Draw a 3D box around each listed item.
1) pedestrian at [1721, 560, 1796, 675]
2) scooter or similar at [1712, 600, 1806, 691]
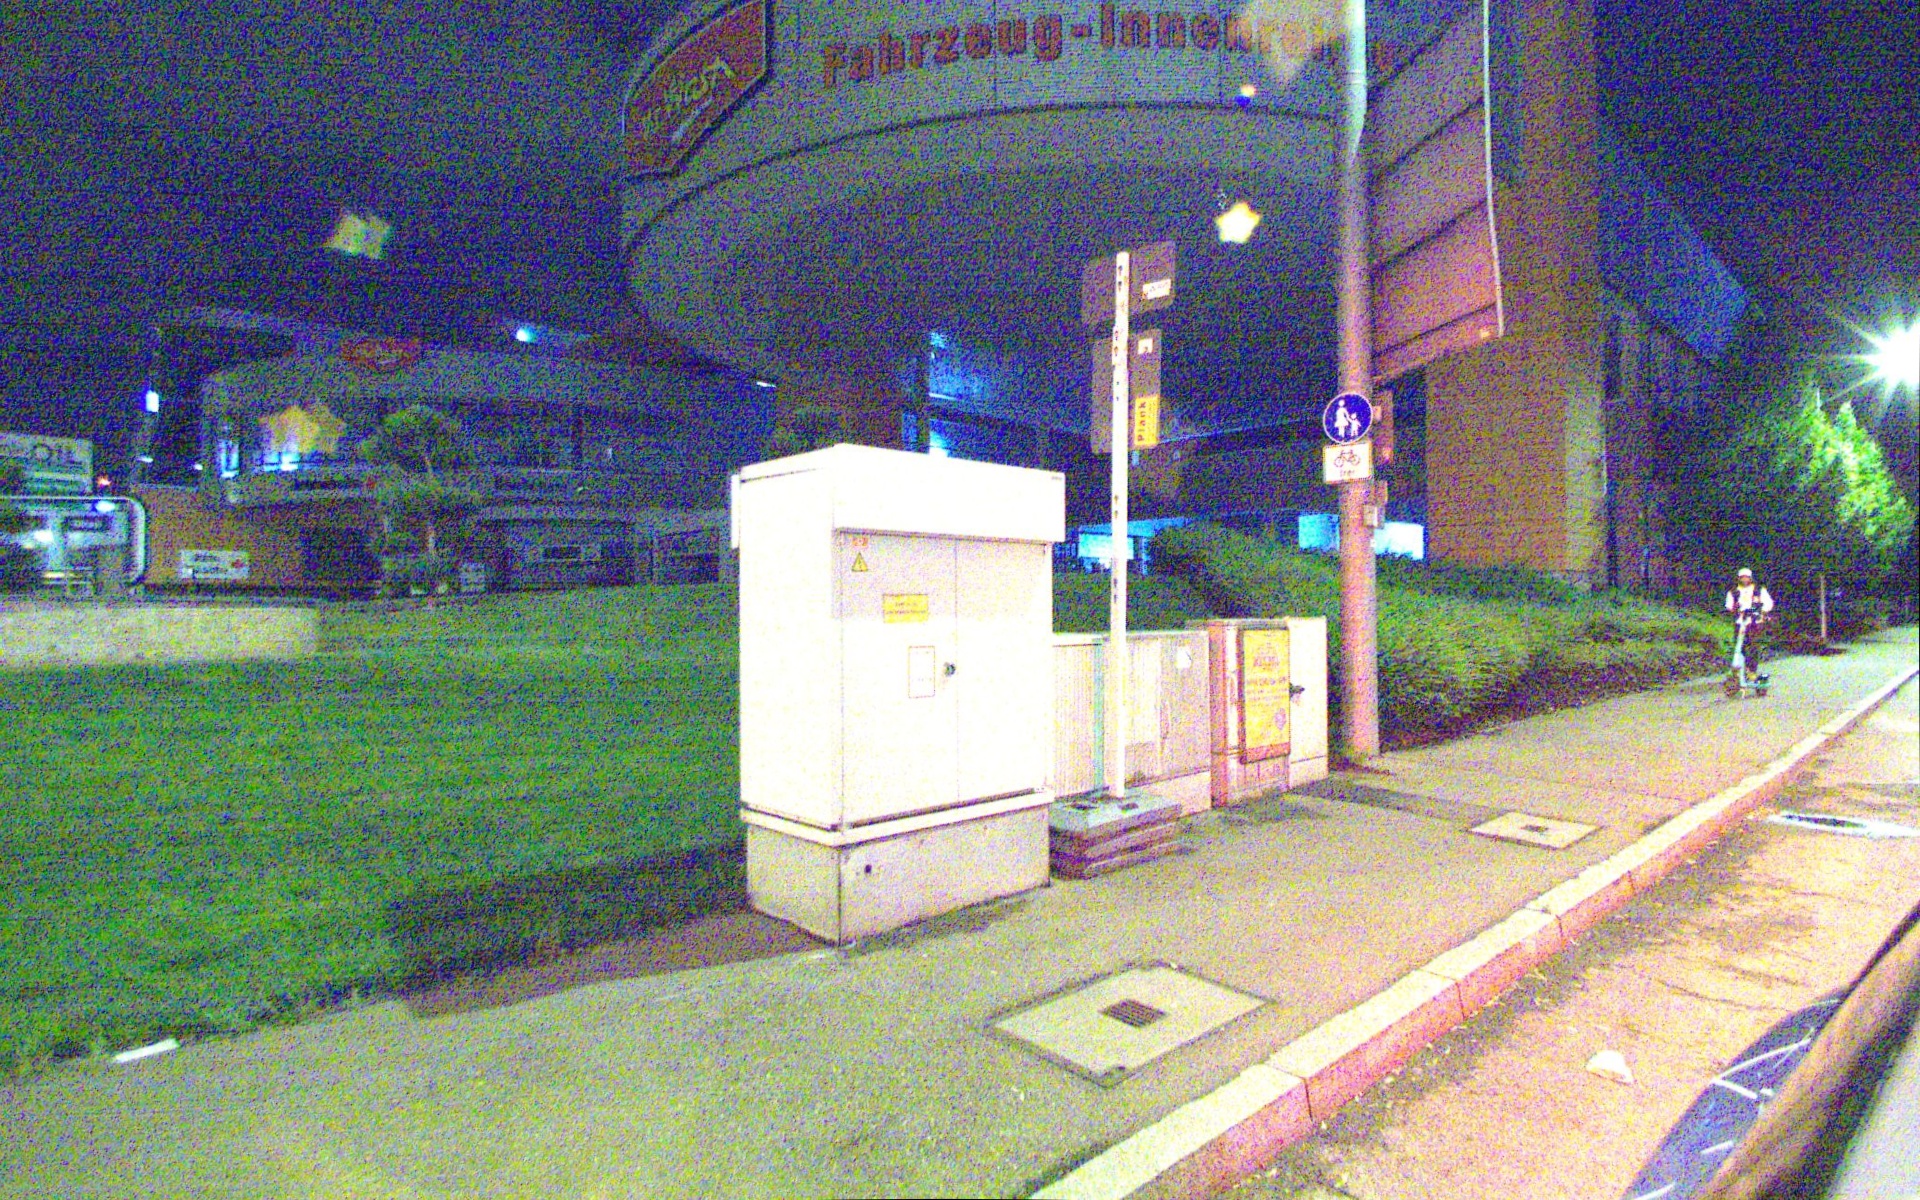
[{"bbox_3d":[13.598,0.284,17.232,1.016,1.888,0.819,0,0,-41],"label":"pedestrian"},{"bbox_3d":[11.021,0.616,13.961,1.111,1.217,0.470,1,-1,-17],"label":"scooter or similar"}]
